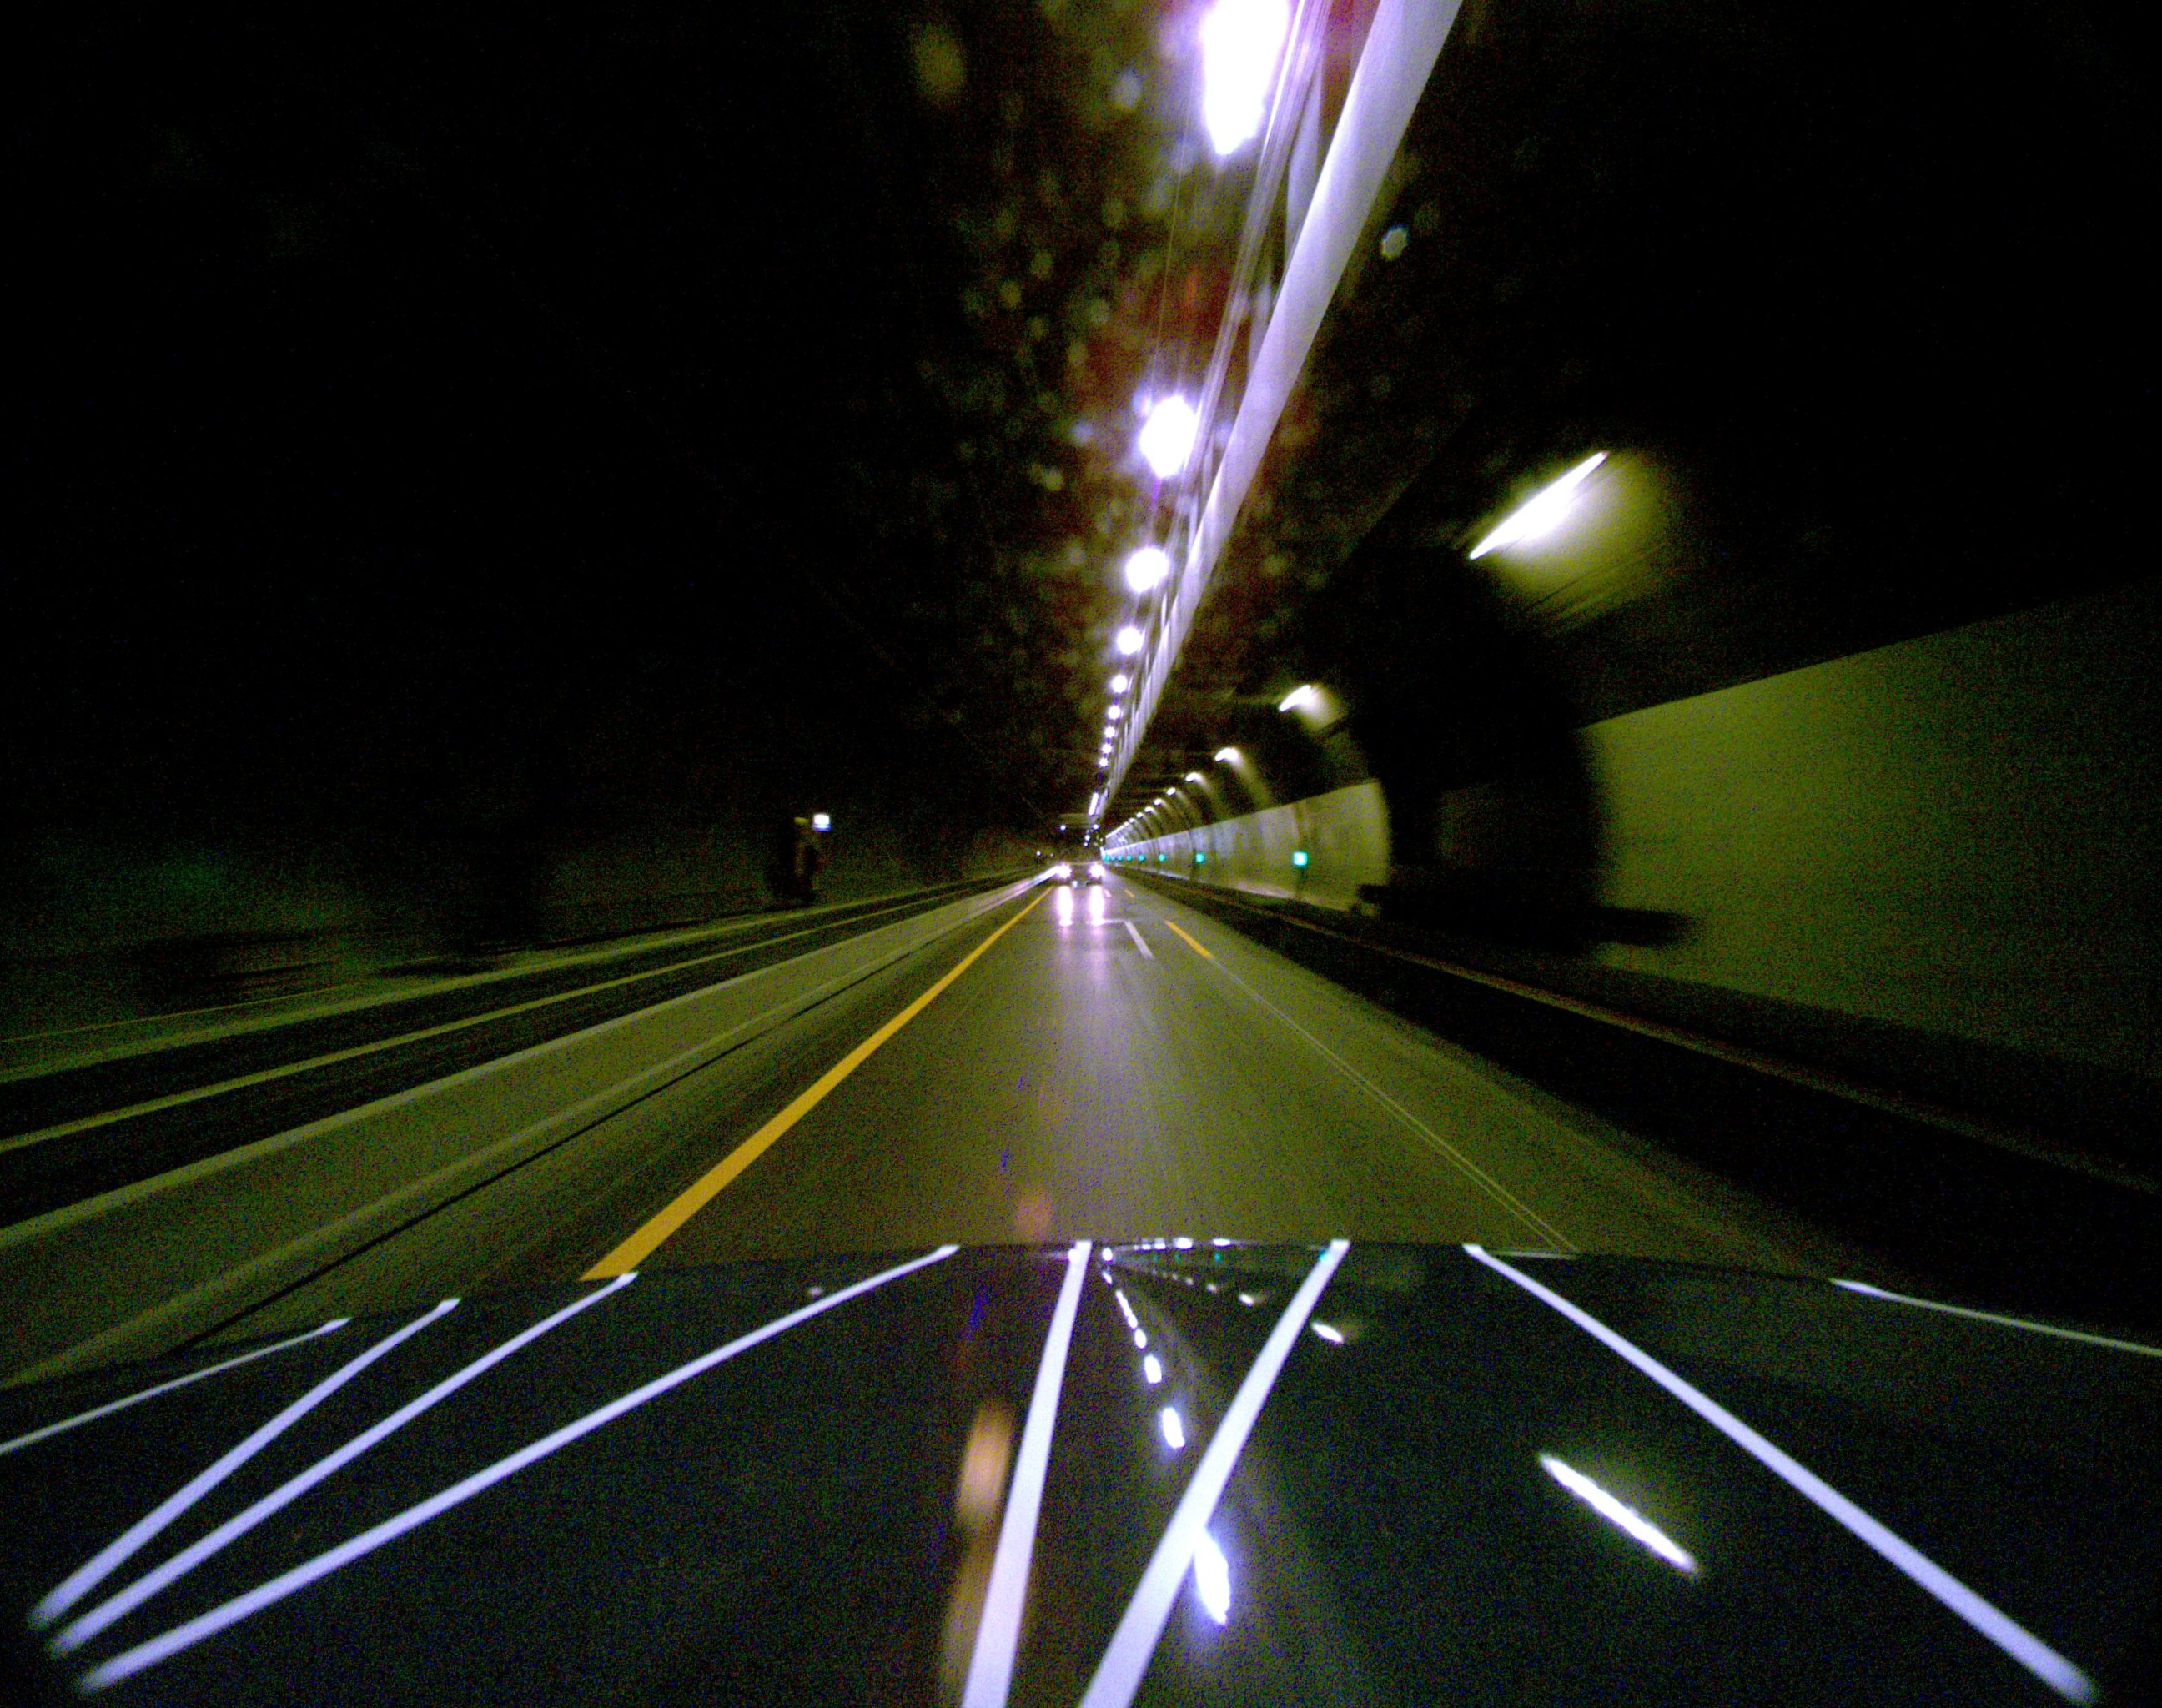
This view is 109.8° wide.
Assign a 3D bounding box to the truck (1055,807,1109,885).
[{"bbox_3d":[0.048,-0.487,46.242,2.951,4.338,6.674,-1,1,0],"label":"truck"}]

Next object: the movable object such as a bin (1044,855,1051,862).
[{"bbox_3d":[-8.680,1.057,196.427,1.560,1.699,3.054,-1,0,-1],"label":"movable object such as a bin"}]

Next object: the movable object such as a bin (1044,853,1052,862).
[{"bbox_3d":[-8.214,0.881,190.297,1.688,2.133,4.627,-1,0,-1],"label":"movable object such as a bin"}]

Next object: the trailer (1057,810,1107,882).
[{"bbox_3d":[0.025,-0.493,51.284,2.940,4.316,10.051,-1,0,0],"label":"trailer"}]
